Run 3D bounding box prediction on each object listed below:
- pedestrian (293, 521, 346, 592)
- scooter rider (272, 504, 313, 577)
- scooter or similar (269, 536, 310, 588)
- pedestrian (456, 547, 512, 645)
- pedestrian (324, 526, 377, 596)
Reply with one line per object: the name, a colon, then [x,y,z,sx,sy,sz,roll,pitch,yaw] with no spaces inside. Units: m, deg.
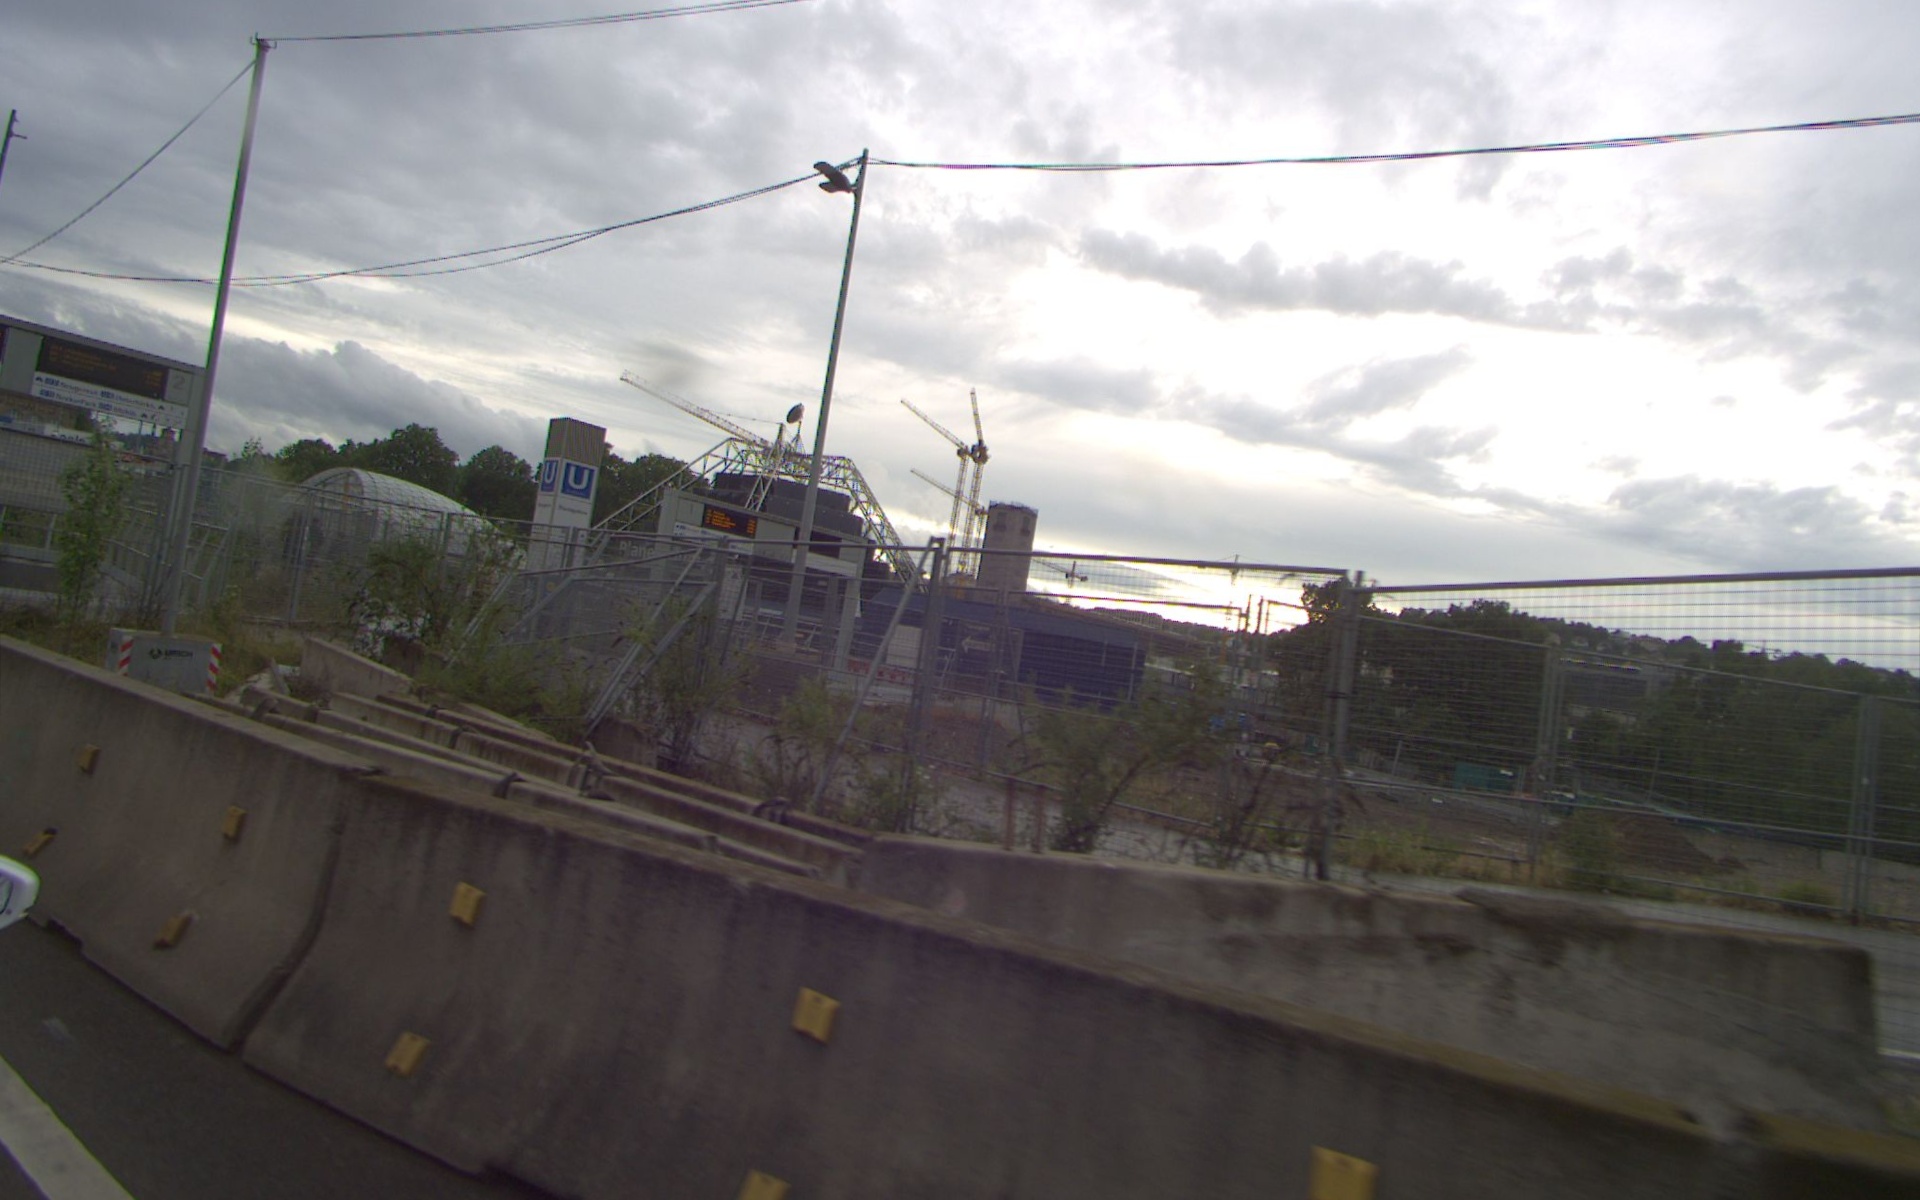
pedestrian: [-17.652,-1.203,27.724,1.007,1.798,0.690,8,-1,37]
scooter rider: [-17.234,-1.544,25.982,0.689,1.776,0.520,9,0,42]
scooter or similar: [-17.329,-0.982,25.984,1.081,1.193,0.490,9,0,43]
pedestrian: [-9.421,-0.087,19.892,0.685,1.798,0.808,9,-1,-32]
pedestrian: [-17.151,-1.103,28.323,1.007,1.798,0.727,8,-1,36]
